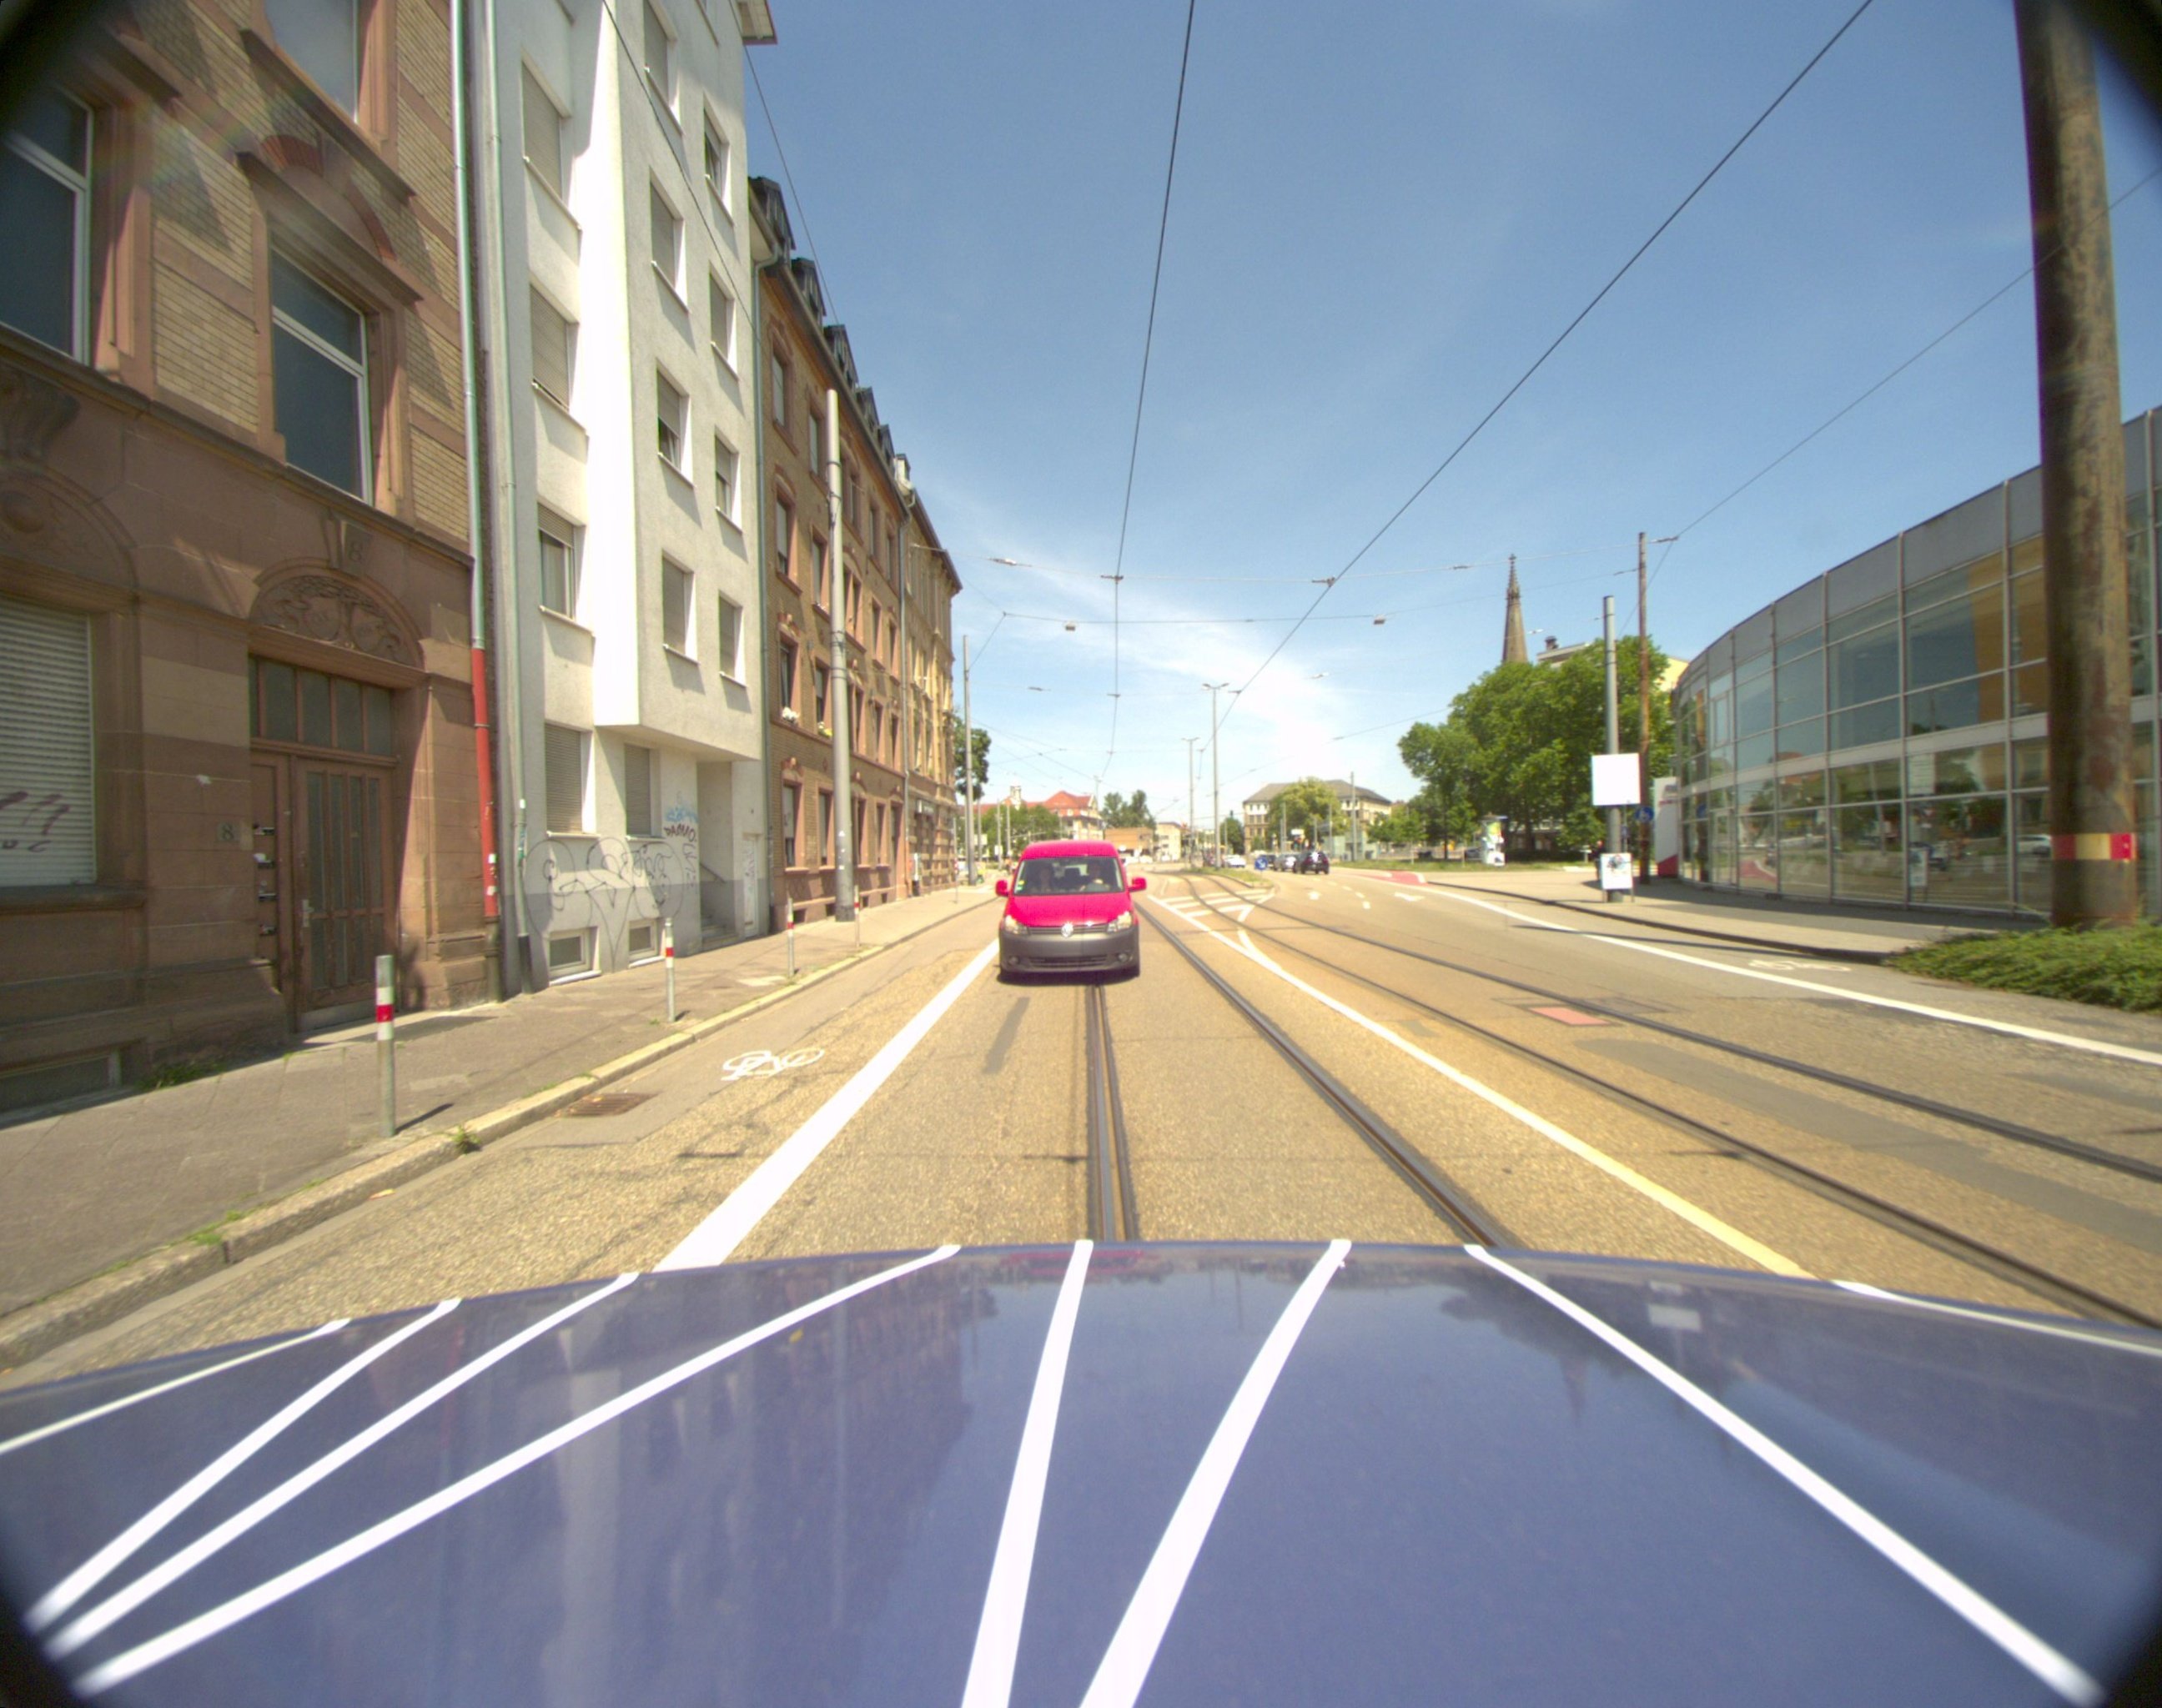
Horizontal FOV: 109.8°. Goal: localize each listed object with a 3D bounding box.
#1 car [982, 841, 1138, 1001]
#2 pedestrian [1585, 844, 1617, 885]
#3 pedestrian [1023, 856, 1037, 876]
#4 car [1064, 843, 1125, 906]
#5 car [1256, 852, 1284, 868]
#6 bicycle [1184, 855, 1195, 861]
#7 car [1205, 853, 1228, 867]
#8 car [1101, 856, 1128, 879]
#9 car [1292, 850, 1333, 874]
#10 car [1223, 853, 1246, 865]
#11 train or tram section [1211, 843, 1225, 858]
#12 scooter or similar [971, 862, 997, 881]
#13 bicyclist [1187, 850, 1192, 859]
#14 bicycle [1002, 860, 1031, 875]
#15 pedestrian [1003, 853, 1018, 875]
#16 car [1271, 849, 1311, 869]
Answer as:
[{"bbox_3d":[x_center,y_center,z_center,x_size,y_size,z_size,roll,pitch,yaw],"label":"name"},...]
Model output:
[{"bbox_3d":[-0.100,0.775,10.809,1.755,1.802,4.098,-2,0,4],"label":"car"},{"bbox_3d":[21.172,0.438,30.960,0.729,1.632,0.820,-1,0,4],"label":"pedestrian"},{"bbox_3d":[-4.604,1.090,68.901,0.808,1.769,0.876,-1,1,33],"label":"pedestrian"},{"bbox_3d":[0.463,0.656,26.036,1.874,1.954,3.823,-2,0,1],"label":"car"},{"bbox_3d":[17.291,0.546,69.670,1.675,1.453,3.903,-1,0,1],"label":"car"},{"bbox_3d":[18.778,0.751,131.629,1.906,0.973,0.528,-1,0,-4],"label":"bicycle"},{"bbox_3d":[14.632,0.676,82.456,1.847,1.471,4.331,0,0,2],"label":"car"},{"bbox_3d":[2.115,0.851,48.618,1.571,1.346,3.459,-1,0,0],"label":"car"},{"bbox_3d":[16.380,0.520,54.016,1.826,1.617,4.526,0,0,4],"label":"car"},{"bbox_3d":[17.317,0.533,85.744,1.711,1.291,4.203,0,0,0],"label":"car"},{"bbox_3d":[29.061,-0.747,161.325,2.840,3.195,9.116,-1,0,10],"label":"train or tram section"},{"bbox_3d":[-6.273,1.129,49.061,1.527,1.149,0.713,-1,0,-28],"label":"scooter or similar"},{"bbox_3d":[18.767,0.071,131.630,0.813,1.678,0.528,-1,1,-4],"label":"bicyclist"},{"bbox_3d":[-5.500,1.123,64.627,2.225,1.243,1.096,-1,0,-43],"label":"bicycle"},{"bbox_3d":[-5.961,0.831,64.197,0.826,1.765,0.812,-3,2,-43],"label":"pedestrian"},{"bbox_3d":[17.117,0.387,62.194,1.998,1.521,5.131,0,0,1],"label":"car"}]
